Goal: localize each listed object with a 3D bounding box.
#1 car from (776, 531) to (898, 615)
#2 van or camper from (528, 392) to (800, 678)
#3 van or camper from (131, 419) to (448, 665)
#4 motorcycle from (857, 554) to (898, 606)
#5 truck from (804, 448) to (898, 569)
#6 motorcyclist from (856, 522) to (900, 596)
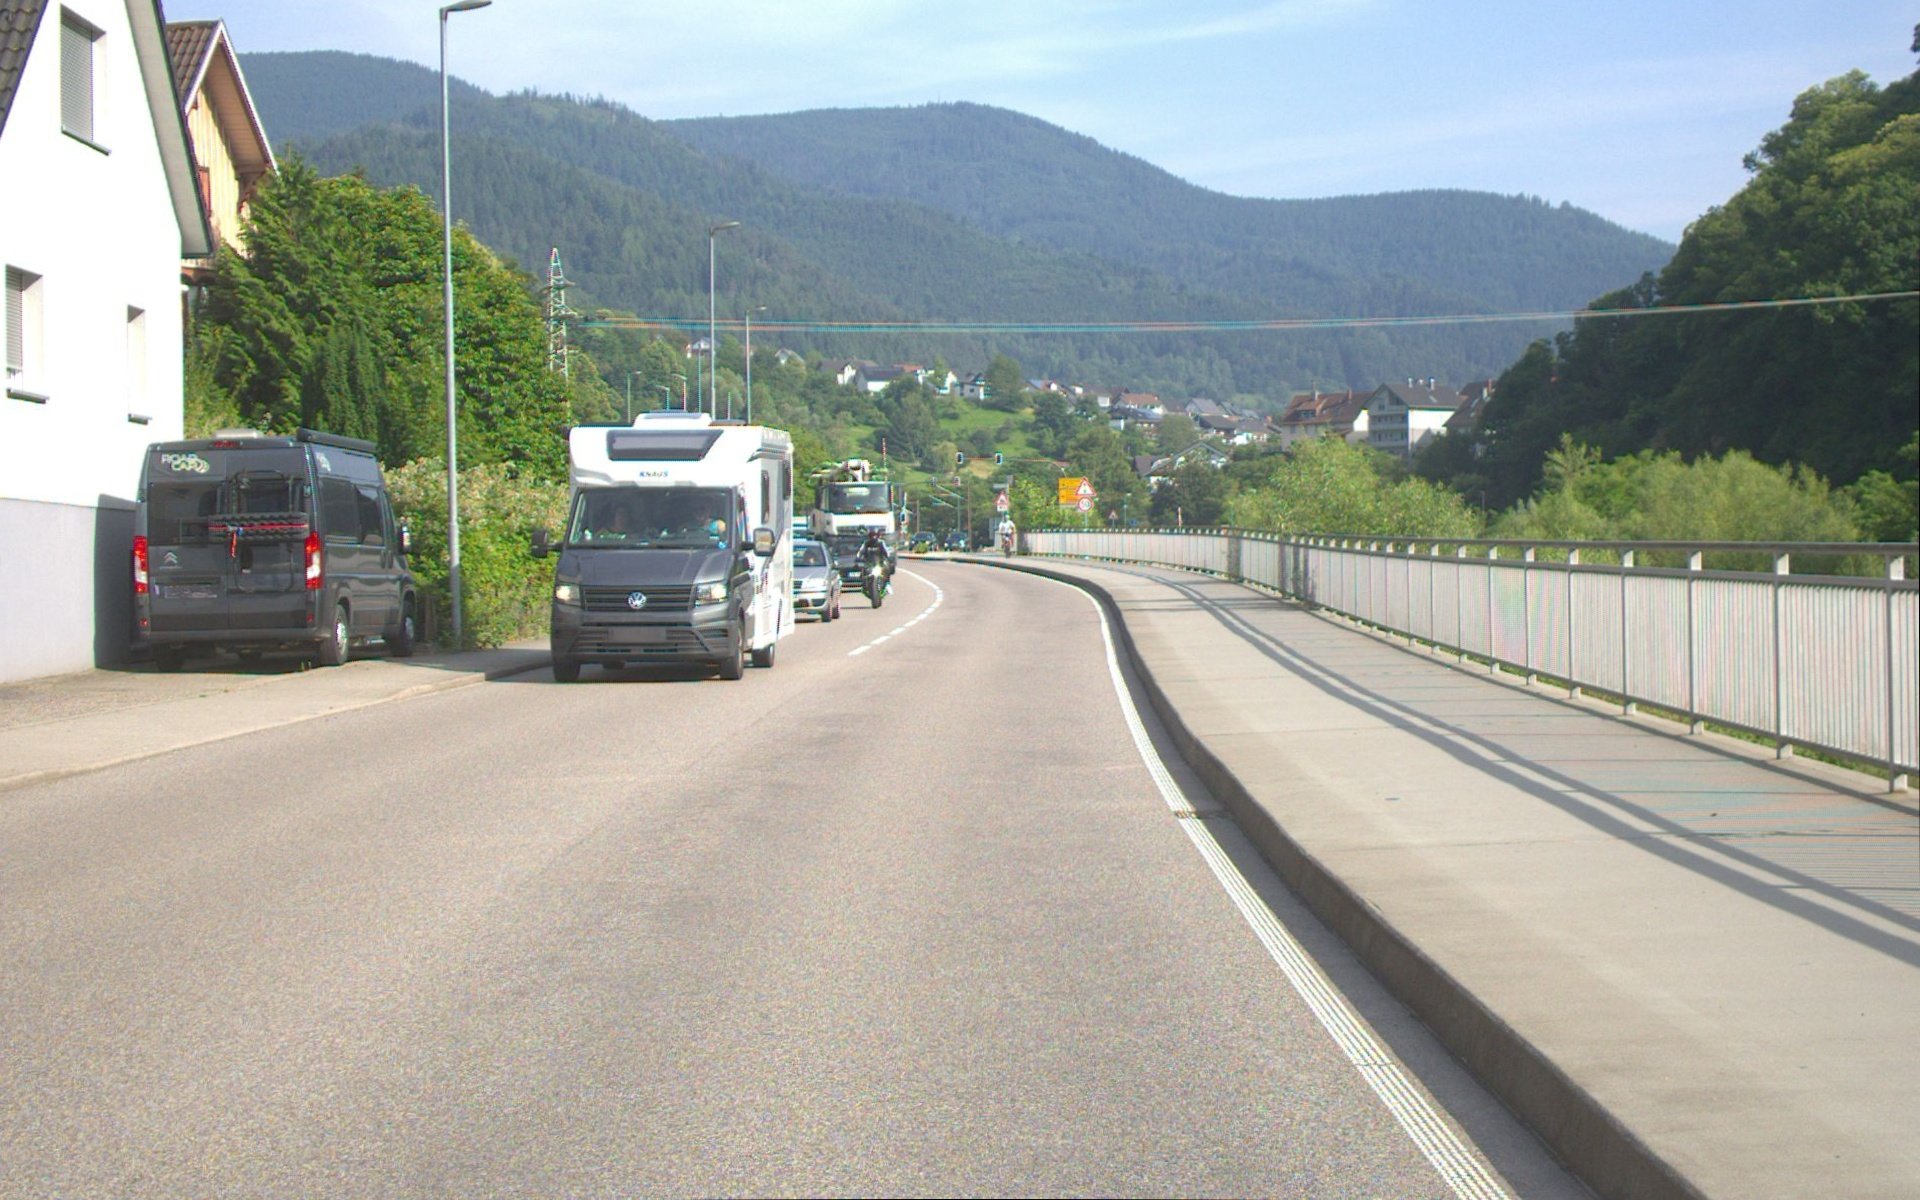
[{"bbox_3d":[-2.201,-0.511,62.463,1.630,1.480,3.999,1,1,6],"label":"car"},{"bbox_3d":[-3.215,-0.759,38.945,2.195,2.928,7.127,0,1,2],"label":"van or camper"},{"bbox_3d":[-7.434,-0.657,38.792,2.148,2.546,5.901,0,1,3],"label":"van or camper"},{"bbox_3d":[-1.748,-0.440,72.839,0.654,1.064,2.182,-1,1,4],"label":"motorcycle"},{"bbox_3d":[-3.851,-3.128,119.155,2.578,3.918,11.308,-1,1,-5],"label":"truck"},{"bbox_3d":[-1.731,-0.863,72.603,0.826,1.553,0.628,-1,1,5],"label":"motorcyclist"}]
